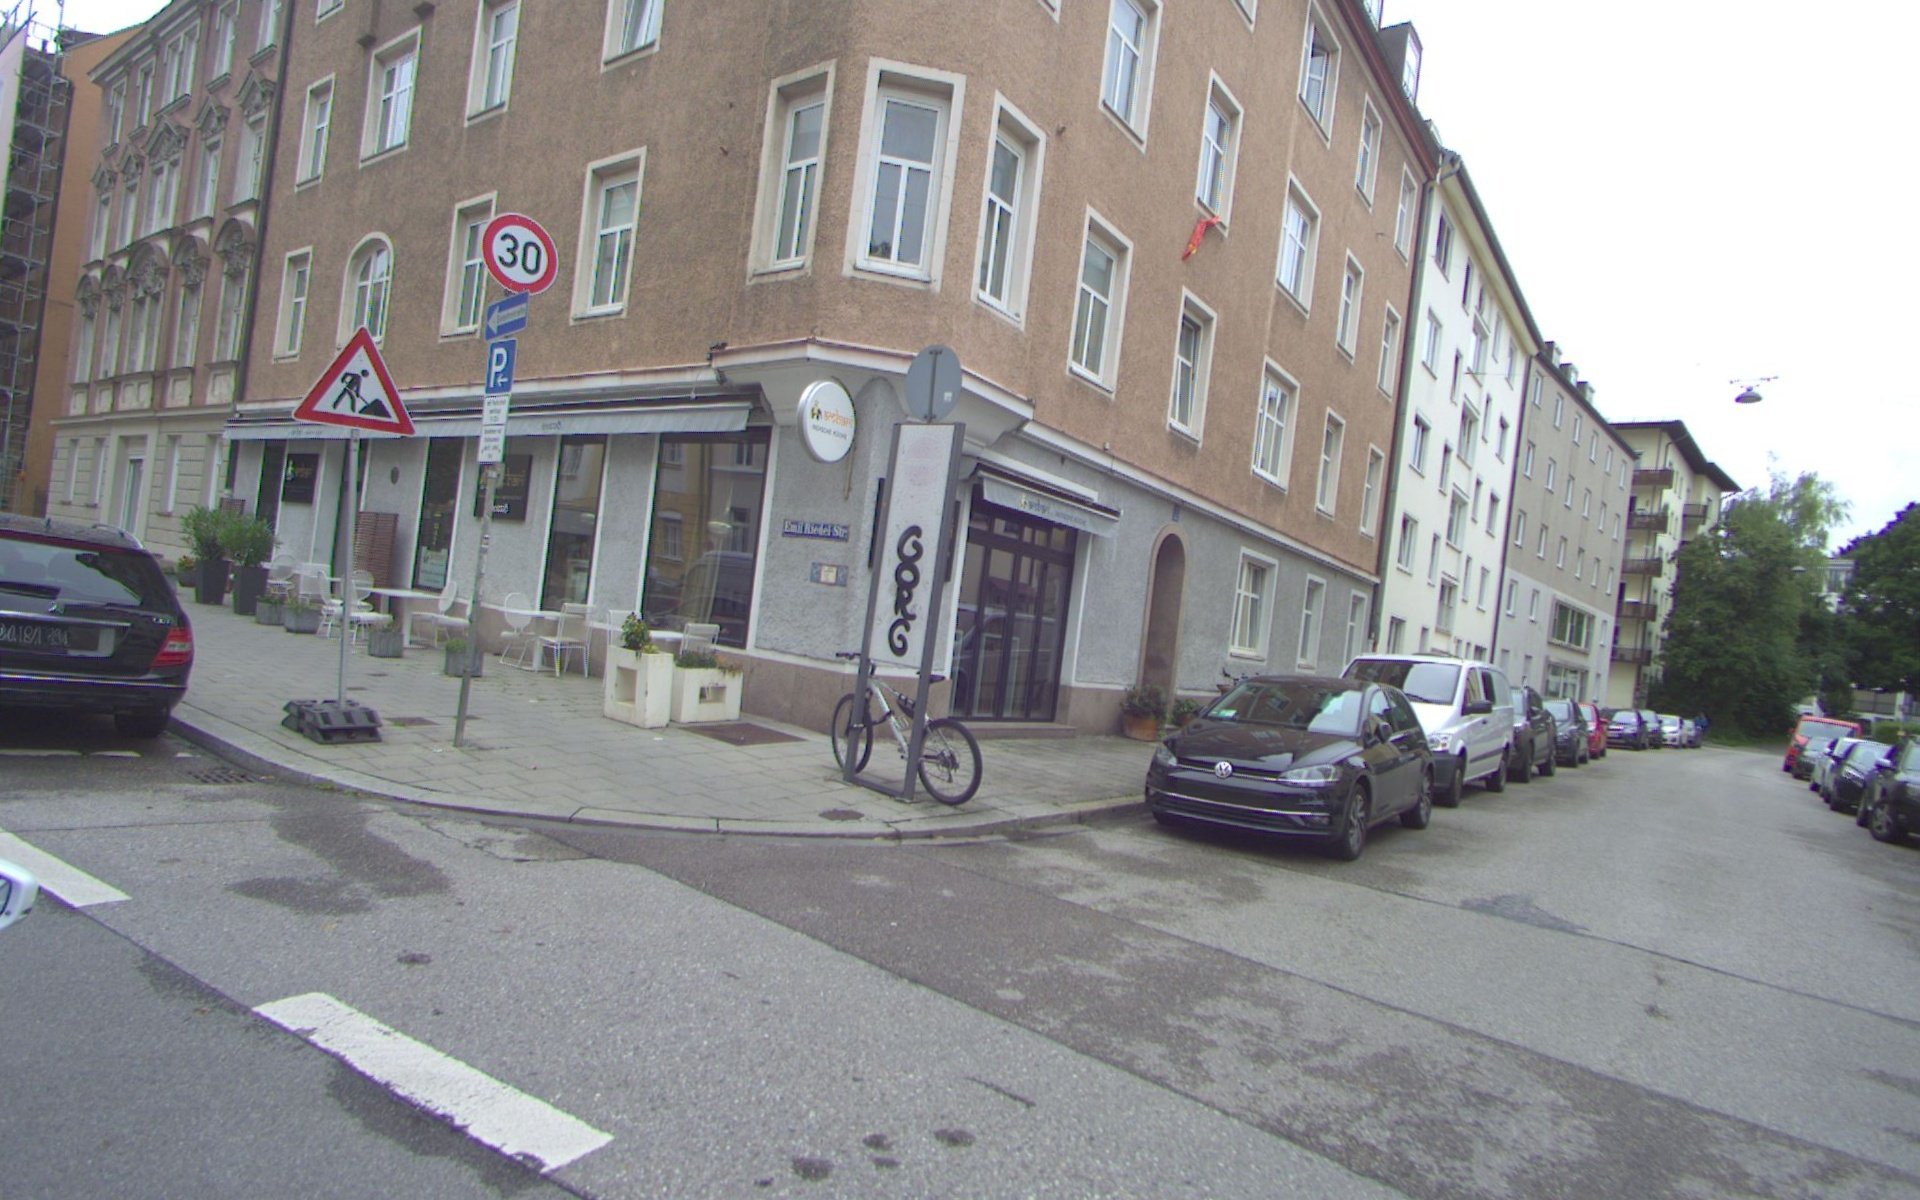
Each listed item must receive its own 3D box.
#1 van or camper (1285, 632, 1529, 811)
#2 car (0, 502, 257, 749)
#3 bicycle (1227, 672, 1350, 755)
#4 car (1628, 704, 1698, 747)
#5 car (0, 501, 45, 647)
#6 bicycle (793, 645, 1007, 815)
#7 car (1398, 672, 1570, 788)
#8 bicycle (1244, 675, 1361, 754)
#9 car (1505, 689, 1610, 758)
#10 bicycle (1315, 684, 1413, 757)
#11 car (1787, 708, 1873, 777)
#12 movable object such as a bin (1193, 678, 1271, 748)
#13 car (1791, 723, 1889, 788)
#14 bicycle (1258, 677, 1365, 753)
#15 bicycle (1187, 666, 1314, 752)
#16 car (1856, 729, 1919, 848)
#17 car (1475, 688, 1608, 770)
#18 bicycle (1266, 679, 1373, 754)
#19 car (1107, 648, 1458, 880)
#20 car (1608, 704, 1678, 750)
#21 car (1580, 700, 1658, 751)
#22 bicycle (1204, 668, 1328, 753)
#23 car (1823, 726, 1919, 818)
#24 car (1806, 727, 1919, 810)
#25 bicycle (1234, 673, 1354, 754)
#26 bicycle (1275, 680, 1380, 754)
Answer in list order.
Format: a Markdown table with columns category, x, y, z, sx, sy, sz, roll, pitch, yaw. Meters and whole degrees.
| category | x | y | z | sx | sy | sz | roll | pitch | yaw |
| --- | --- | --- | --- | --- | --- | --- | --- | --- | --- |
| van or camper | 6.494 | 1.667 | 14.239 | 1.932 | 1.941 | 4.899 | 4 | -3 | 38 |
| car | -7.258 | -0.024 | 7.480 | 4.715 | 1.421 | 1.848 | 6 | -2 | 37 |
| bicycle | 5.710 | 1.951 | 17.509 | 1.893 | 1.157 | 0.418 | 7 | 0 | 21 |
| car | 32.395 | 5.786 | 46.332 | 1.952 | 1.586 | 4.411 | 6 | -2 | 43 |
| car | -11.313 | -0.478 | 10.602 | 4.118 | 1.411 | 1.573 | 6 | -1 | 36 |
| bicycle | -0.526 | 1.002 | 8.153 | 1.776 | 1.018 | 0.495 | 8 | 2 | 40 |
| car | 9.726 | 2.329 | 18.516 | 1.949 | 1.664 | 3.982 | 6 | -1 | 39 |
| bicycle | 6.234 | 2.067 | 18.342 | 1.893 | 1.157 | 0.418 | 7 | 0 | 21 |
| car | 17.348 | 3.514 | 29.088 | 1.949 | 1.587 | 4.653 | 6 | -1 | 38 |
| bicycle | 8.518 | 2.536 | 21.272 | 1.767 | 1.275 | 0.418 | 7 | 0 | 21 |
| car | 30.658 | 5.003 | 35.527 | 2.036 | 2.002 | 4.414 | 6 | -2 | 41 |
| movable object such as a bin | 4.413 | 1.816 | 16.299 | 0.952 | 0.962 | 0.733 | 8 | 0 | 30 |
| car | 27.465 | 4.809 | 31.534 | 1.949 | 1.586 | 4.416 | 6 | -2 | 39 |
| bicycle | 6.559 | 2.136 | 18.813 | 1.767 | 1.157 | 0.418 | 7 | 0 | 21 |
| bicycle | 4.832 | 1.789 | 16.755 | 1.893 | 1.157 | 0.475 | 7 | 0 | 21 |
| car | 15.214 | 2.924 | 15.347 | 1.956 | 1.603 | 4.014 | 6 | -2 | 39 |
| car | 14.186 | 3.139 | 24.419 | 1.950 | 1.520 | 4.654 | 7 | -2 | 40 |
| bicycle | 6.824 | 2.190 | 19.133 | 1.767 | 1.157 | 0.418 | 7 | 0 | 21 |
| car | 3.219 | 1.417 | 9.515 | 1.864 | 1.505 | 3.873 | 6 | -2 | 37 |
| car | 29.085 | 5.356 | 42.787 | 1.950 | 1.587 | 4.413 | 6 | -1 | 39 |
| car | 25.470 | 4.813 | 38.799 | 1.950 | 1.587 | 4.651 | 6 | -1 | 39 |
| bicycle | 5.214 | 1.864 | 17.156 | 1.893 | 1.157 | 0.475 | 7 | 0 | 21 |
| car | 19.431 | 3.552 | 20.843 | 1.949 | 1.586 | 4.418 | 6 | -2 | 37 |
| car | 22.185 | 4.056 | 24.581 | 1.949 | 1.586 | 4.418 | 6 | -2 | 37 |
| bicycle | 5.925 | 2.001 | 17.896 | 1.893 | 1.157 | 0.418 | 7 | 0 | 21 |
| bicycle | 7.120 | 2.251 | 19.532 | 1.767 | 1.157 | 0.418 | 7 | 0 | 21 |
